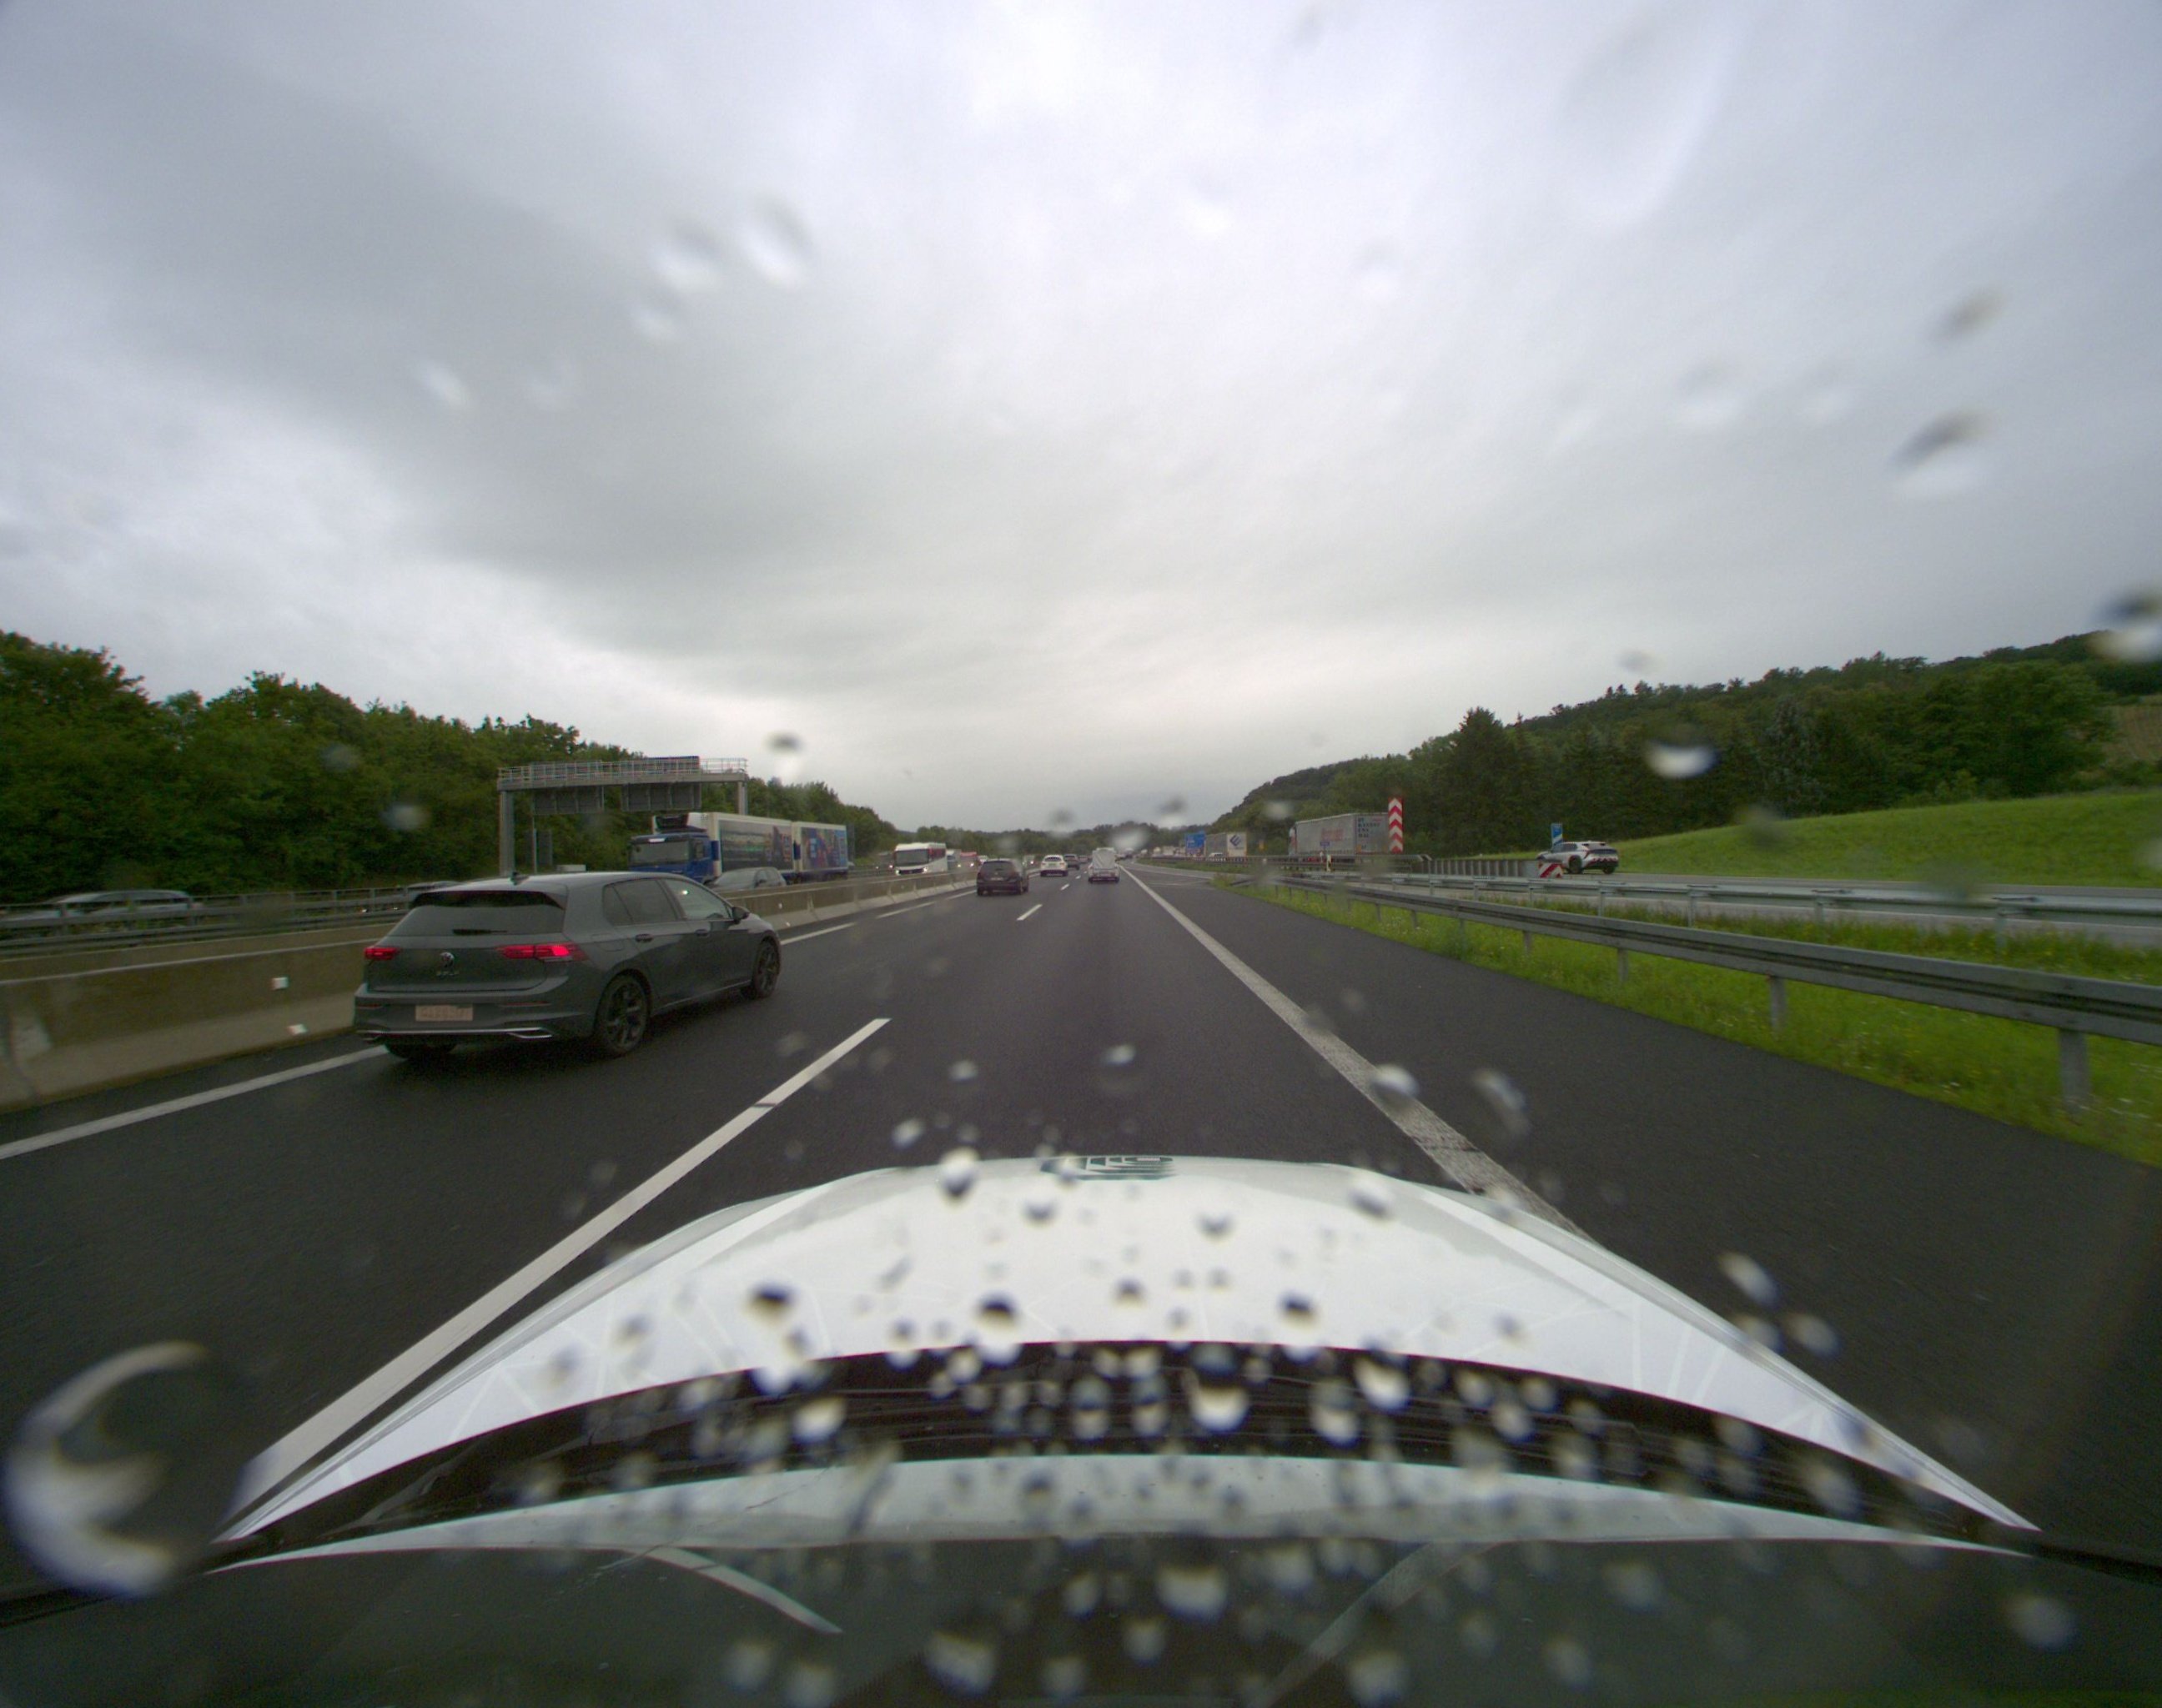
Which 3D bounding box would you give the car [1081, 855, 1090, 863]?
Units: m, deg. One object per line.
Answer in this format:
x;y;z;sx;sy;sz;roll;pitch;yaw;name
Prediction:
1.067;1.064;181.630;1.812;1.662;4.019;-2;0;2;car

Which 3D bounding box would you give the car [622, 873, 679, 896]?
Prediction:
-30.510;2.134;57.806;1.791;1.376;4.001;-2;0;1;car

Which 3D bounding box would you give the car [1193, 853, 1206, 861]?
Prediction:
20.444;0.571;140.325;1.691;1.288;3.535;0;-1;1;car

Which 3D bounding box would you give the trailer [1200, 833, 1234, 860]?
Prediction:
18.864;-0.965;113.482;2.931;3.527;8.410;0;0;-3;trailer

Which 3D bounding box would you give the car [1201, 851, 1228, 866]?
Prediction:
15.862;0.554;96.841;1.990;1.616;5.071;-2;0;-4;car

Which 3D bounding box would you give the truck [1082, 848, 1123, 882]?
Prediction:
1.296;0.617;47.400;2.233;1.839;6.588;0;0;2;truck

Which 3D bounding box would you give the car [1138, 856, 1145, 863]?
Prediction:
14.419;1.271;194.995;1.639;1.574;4.002;0;0;2;car

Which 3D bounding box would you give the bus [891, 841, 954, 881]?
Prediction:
-10.951;0.484;56.995;2.531;2.586;8.275;0;0;2;bus

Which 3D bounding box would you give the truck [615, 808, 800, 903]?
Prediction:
-15.691;0.073;35.517;2.797;3.525;10.646;0;0;2;truck

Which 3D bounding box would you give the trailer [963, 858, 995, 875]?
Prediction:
-13.142;1.554;105.580;2.527;2.013;10.248;-2;0;2;trailer

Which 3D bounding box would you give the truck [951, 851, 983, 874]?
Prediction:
-13.477;0.974;96.867;2.417;2.594;7.097;-1;0;3;truck

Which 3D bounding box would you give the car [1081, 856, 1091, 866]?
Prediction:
0.960;1.301;147.467;1.732;1.794;4.001;-1;0;2;car

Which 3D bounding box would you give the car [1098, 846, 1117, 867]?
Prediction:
3.464;0.321;109.157;2.324;2.725;6.540;-1;0;0;car

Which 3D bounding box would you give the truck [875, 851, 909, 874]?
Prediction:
-27.895;1.214;120.733;2.503;3.145;8.853;-2;0;2;truck

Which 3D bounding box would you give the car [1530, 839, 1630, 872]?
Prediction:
24.845;0.092;40.773;1.814;1.504;5.029;-2;0;-1;car

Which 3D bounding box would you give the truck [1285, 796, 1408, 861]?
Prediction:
20.809;-1.726;65.756;3.811;4.540;16.869;-1;0;-2;truck

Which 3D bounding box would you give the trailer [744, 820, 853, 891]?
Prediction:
-15.314;0.092;44.945;2.931;3.516;8.055;0;0;2;trailer

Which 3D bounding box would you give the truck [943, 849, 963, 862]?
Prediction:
-28.635;0.282;182.364;2.729;2.872;8.543;-2;0;1;truck

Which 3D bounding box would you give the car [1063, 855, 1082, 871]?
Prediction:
-0.934;1.011;91.009;1.968;1.703;4.804;-1;0;1;car

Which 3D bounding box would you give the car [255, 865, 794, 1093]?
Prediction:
-4.418;0.848;7.507;1.823;1.425;4.370;-1;0;2;car

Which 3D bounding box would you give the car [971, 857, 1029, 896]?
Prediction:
-3.248;0.864;33.654;1.781;1.459;4.803;-1;0;1;car

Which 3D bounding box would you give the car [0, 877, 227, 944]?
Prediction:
-27.716;1.530;23.053;1.985;1.537;4.692;-2;0;3;car

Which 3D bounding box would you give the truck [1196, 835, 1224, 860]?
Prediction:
18.696;-0.953;118.117;2.930;3.527;5.922;0;0;-2;truck

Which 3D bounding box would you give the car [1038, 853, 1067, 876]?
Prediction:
-2.209;0.803;62.470;2.045;1.670;4.533;-1;0;-5;car

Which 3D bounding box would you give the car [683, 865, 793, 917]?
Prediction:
-11.737;1.216;28.162;1.986;1.618;4.002;0;0;2;car

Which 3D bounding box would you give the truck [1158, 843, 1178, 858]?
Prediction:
21.871;-0.815;204.874;3.815;3.659;8.265;0;0;-2;truck

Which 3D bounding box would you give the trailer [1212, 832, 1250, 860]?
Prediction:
19.239;-1.007;105.169;3.071;3.527;8.076;0;0;-3;trailer

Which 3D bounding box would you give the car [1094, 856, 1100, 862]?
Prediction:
4.221;1.282;217.380;1.639;1.574;4.002;0;0;2;car
